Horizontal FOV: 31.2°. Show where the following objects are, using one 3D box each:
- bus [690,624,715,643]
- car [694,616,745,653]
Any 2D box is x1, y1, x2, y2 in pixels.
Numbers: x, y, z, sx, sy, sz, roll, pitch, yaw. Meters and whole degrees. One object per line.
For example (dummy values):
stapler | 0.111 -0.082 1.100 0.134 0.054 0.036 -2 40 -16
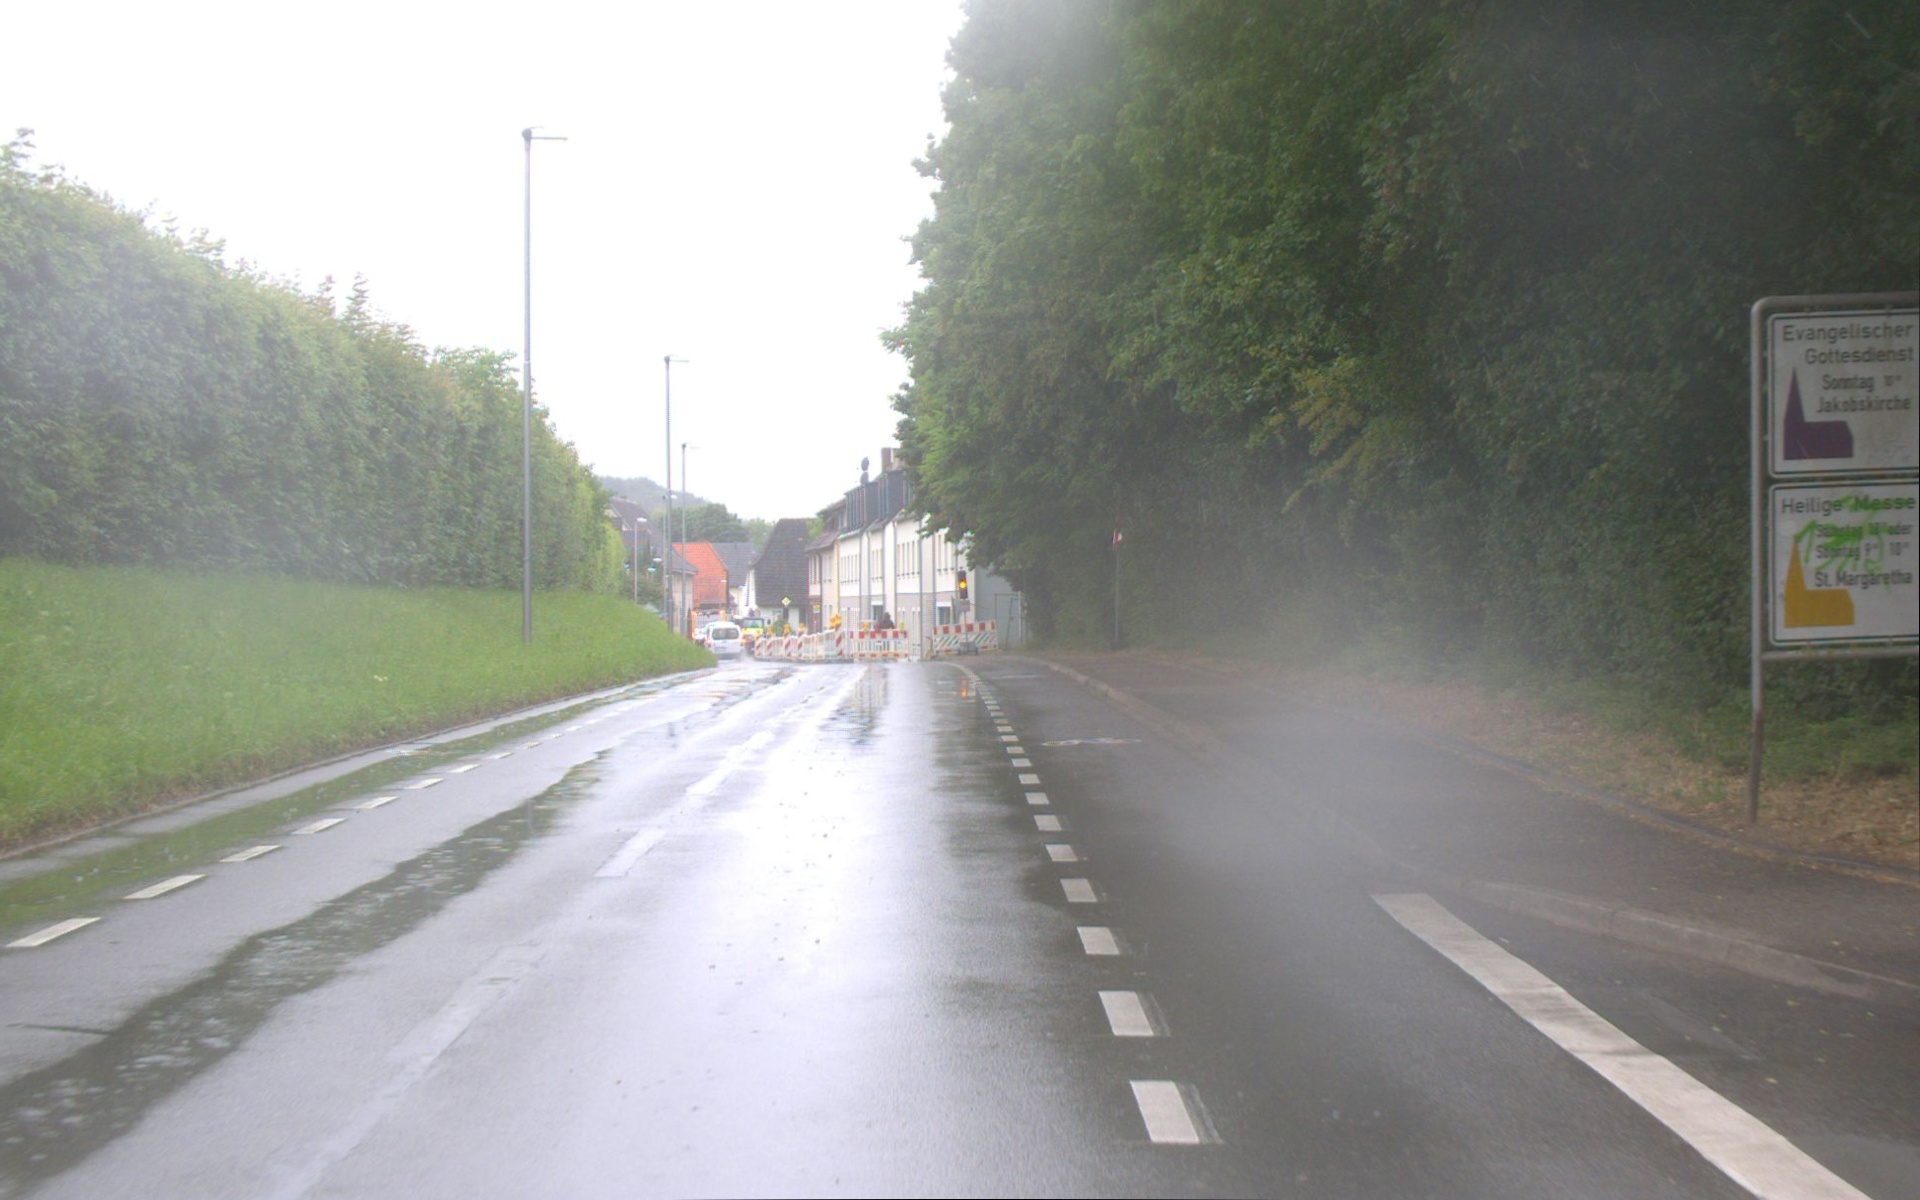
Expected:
bus | -19.231 2.510 256.770 1.794 1.405 4.000 1 -1 -3
car | -11.560 1.639 165.256 1.993 1.605 4.001 2 1 -10
